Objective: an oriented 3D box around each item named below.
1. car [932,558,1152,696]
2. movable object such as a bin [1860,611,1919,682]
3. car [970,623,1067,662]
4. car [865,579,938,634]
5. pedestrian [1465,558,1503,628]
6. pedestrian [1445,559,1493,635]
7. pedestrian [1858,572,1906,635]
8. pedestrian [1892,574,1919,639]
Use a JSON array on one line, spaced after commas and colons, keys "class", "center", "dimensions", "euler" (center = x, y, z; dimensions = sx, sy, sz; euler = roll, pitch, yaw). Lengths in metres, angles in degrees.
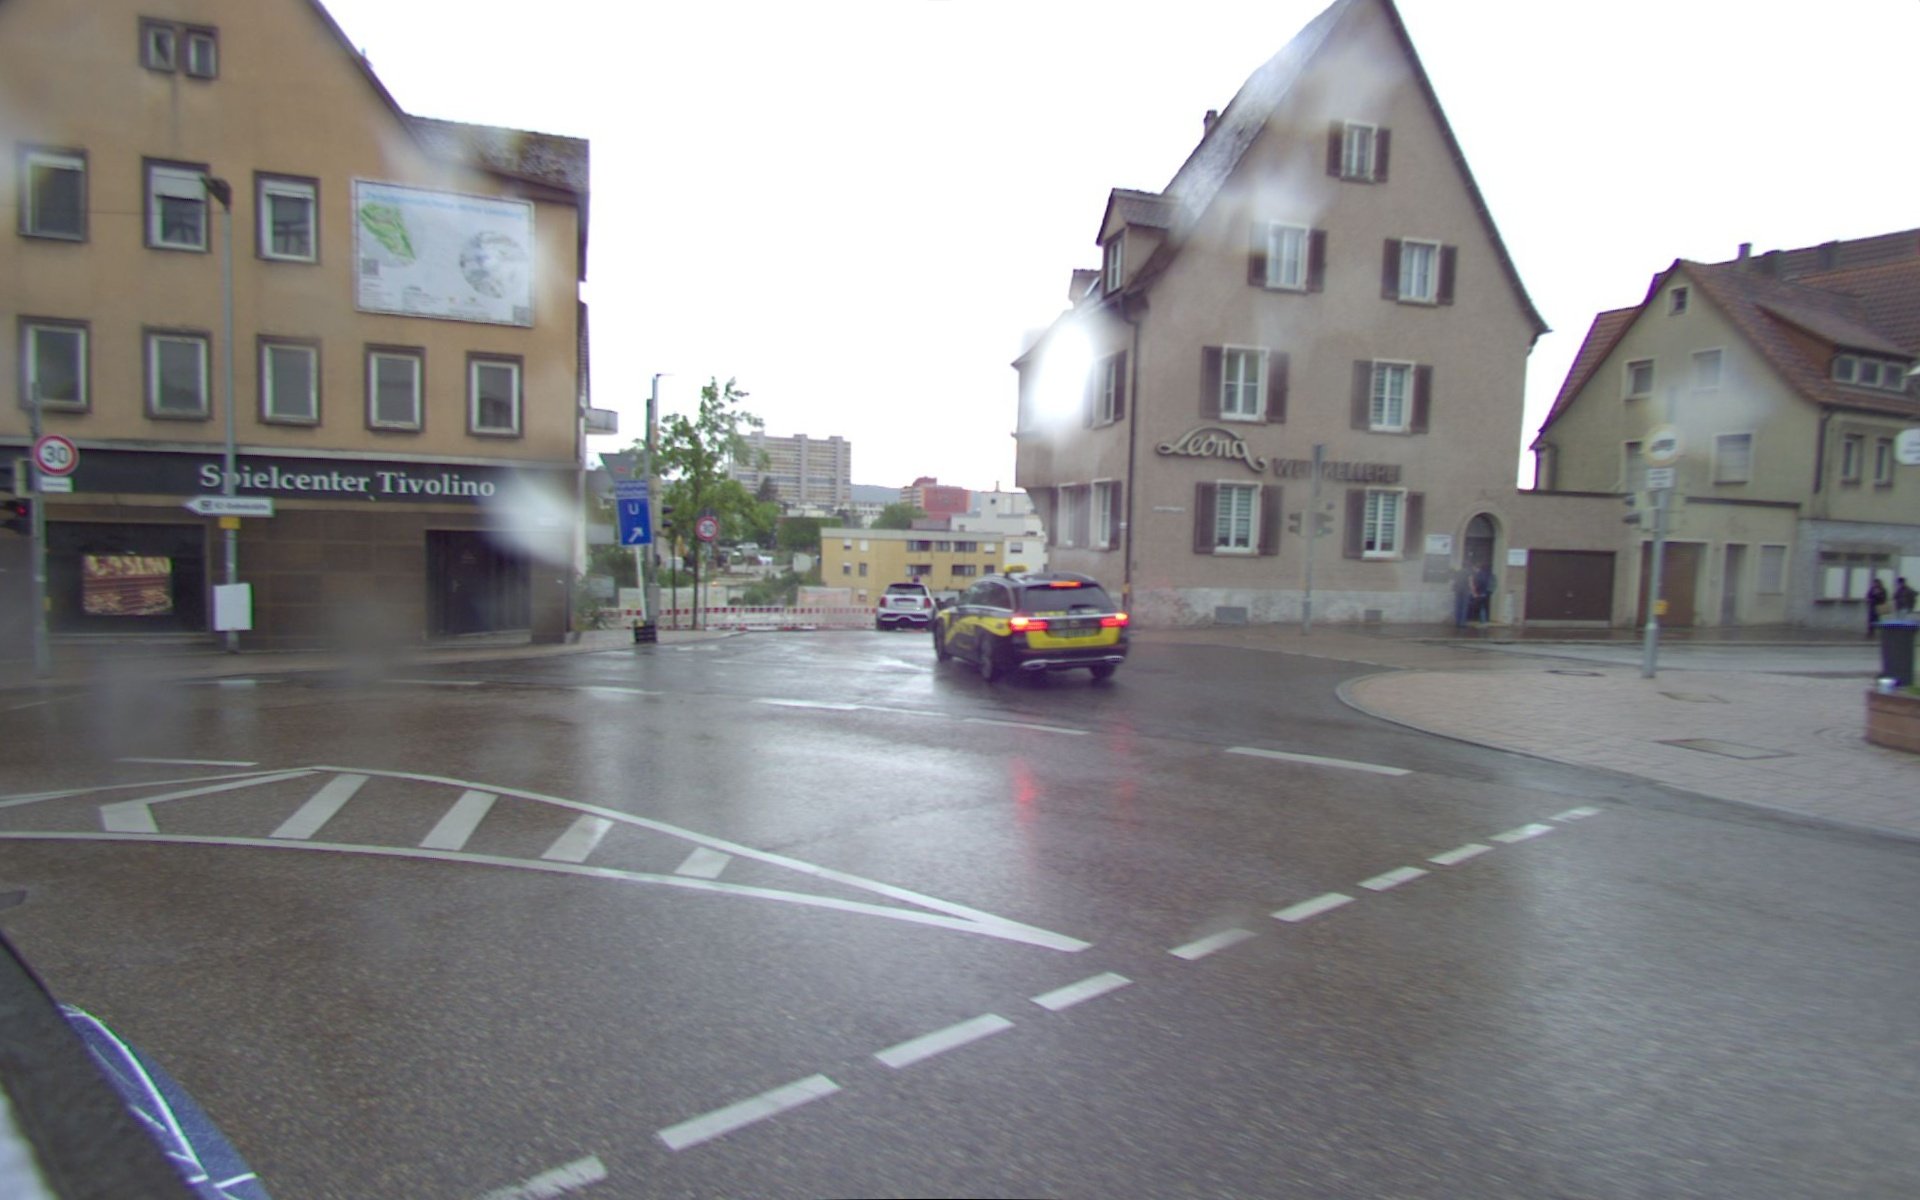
[{"class": "car", "center": [0.985, 0.238, 14.772], "dimensions": [1.967, 1.549, 4.426], "euler": [-2, 4, -12]}, {"class": "movable object such as a bin", "center": [13.347, 0.652, 14.214], "dimensions": [0.782, 0.933, 0.721], "euler": [3, 2, 18]}, {"class": "car", "center": [2.787, 1.944, 47.234], "dimensions": [4.679, 1.600, 1.831], "euler": [-1, -1, -44]}, {"class": "car", "center": [-1.676, 0.191, 29.886], "dimensions": [1.971, 1.442, 4.001], "euler": [-2, 0, -2]}, {"class": "pedestrian", "center": [13.314, -0.195, 25.711], "dimensions": [0.529, 1.741, 0.557], "euler": [1, 3, -10]}, {"class": "pedestrian", "center": [12.776, -0.074, 25.413], "dimensions": [0.702, 1.844, 0.801], "euler": [-2, 0, -34]}, {"class": "pedestrian", "center": [26.018, 0.085, 28.557], "dimensions": [0.620, 1.745, 0.784], "euler": [-2, 2, -16]}, {"class": "pedestrian", "center": [26.246, 0.158, 27.766], "dimensions": [0.620, 1.745, 0.784], "euler": [-2, 2, -16]}]
